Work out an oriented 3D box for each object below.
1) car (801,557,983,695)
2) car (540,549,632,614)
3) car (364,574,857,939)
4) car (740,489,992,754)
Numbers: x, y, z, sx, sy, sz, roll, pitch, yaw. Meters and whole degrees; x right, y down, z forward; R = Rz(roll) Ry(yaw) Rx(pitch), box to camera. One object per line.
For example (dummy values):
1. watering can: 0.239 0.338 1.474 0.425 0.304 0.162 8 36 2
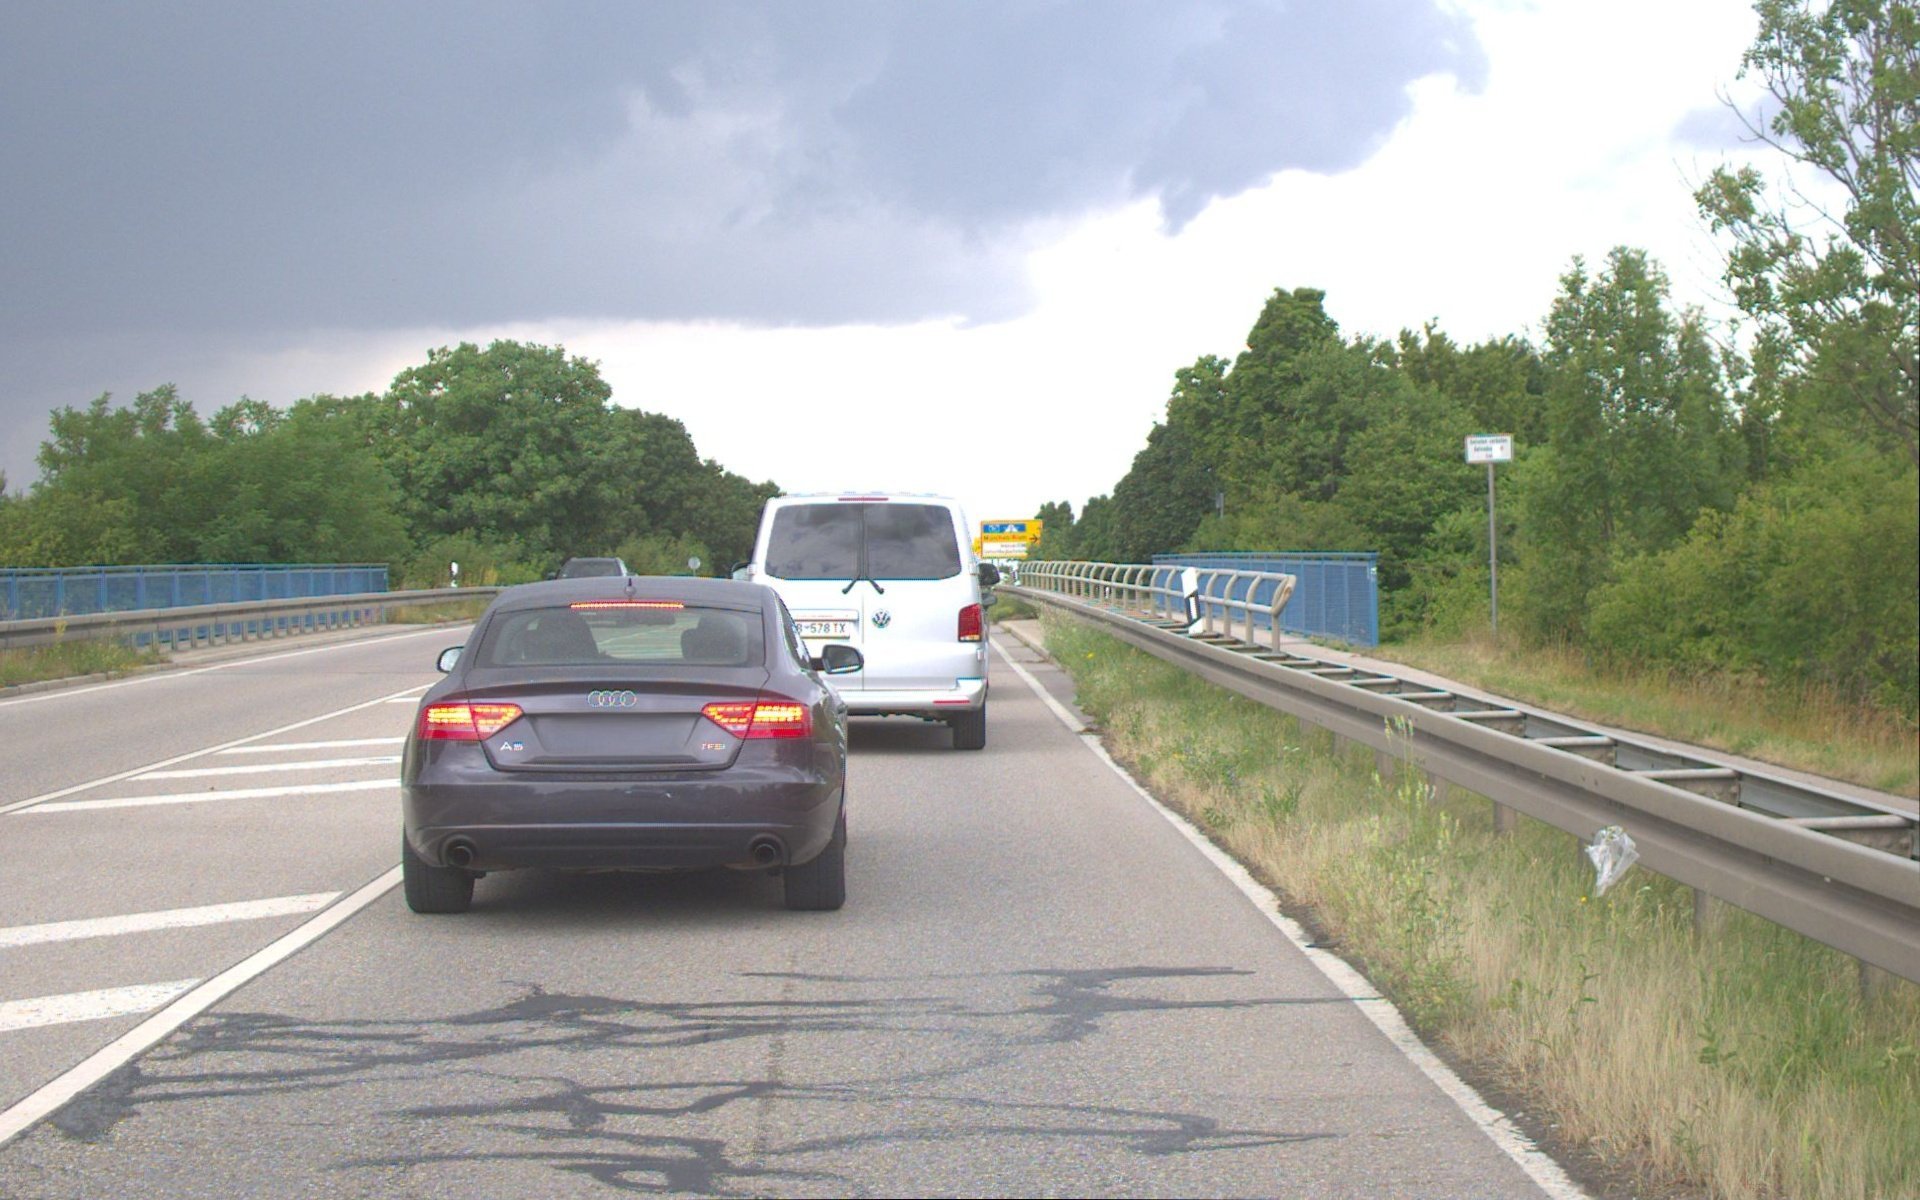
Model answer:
1. car: -0.666 0.237 36.465 1.821 1.376 4.072 0 1 0
2. car: -8.745 -0.449 80.703 1.799 1.445 4.446 -1 1 -2
3. car: -1.411 0.590 15.323 1.821 1.376 4.072 -1 1 -1
4. car: -0.720 0.135 27.266 1.828 1.929 4.000 -1 1 -1
